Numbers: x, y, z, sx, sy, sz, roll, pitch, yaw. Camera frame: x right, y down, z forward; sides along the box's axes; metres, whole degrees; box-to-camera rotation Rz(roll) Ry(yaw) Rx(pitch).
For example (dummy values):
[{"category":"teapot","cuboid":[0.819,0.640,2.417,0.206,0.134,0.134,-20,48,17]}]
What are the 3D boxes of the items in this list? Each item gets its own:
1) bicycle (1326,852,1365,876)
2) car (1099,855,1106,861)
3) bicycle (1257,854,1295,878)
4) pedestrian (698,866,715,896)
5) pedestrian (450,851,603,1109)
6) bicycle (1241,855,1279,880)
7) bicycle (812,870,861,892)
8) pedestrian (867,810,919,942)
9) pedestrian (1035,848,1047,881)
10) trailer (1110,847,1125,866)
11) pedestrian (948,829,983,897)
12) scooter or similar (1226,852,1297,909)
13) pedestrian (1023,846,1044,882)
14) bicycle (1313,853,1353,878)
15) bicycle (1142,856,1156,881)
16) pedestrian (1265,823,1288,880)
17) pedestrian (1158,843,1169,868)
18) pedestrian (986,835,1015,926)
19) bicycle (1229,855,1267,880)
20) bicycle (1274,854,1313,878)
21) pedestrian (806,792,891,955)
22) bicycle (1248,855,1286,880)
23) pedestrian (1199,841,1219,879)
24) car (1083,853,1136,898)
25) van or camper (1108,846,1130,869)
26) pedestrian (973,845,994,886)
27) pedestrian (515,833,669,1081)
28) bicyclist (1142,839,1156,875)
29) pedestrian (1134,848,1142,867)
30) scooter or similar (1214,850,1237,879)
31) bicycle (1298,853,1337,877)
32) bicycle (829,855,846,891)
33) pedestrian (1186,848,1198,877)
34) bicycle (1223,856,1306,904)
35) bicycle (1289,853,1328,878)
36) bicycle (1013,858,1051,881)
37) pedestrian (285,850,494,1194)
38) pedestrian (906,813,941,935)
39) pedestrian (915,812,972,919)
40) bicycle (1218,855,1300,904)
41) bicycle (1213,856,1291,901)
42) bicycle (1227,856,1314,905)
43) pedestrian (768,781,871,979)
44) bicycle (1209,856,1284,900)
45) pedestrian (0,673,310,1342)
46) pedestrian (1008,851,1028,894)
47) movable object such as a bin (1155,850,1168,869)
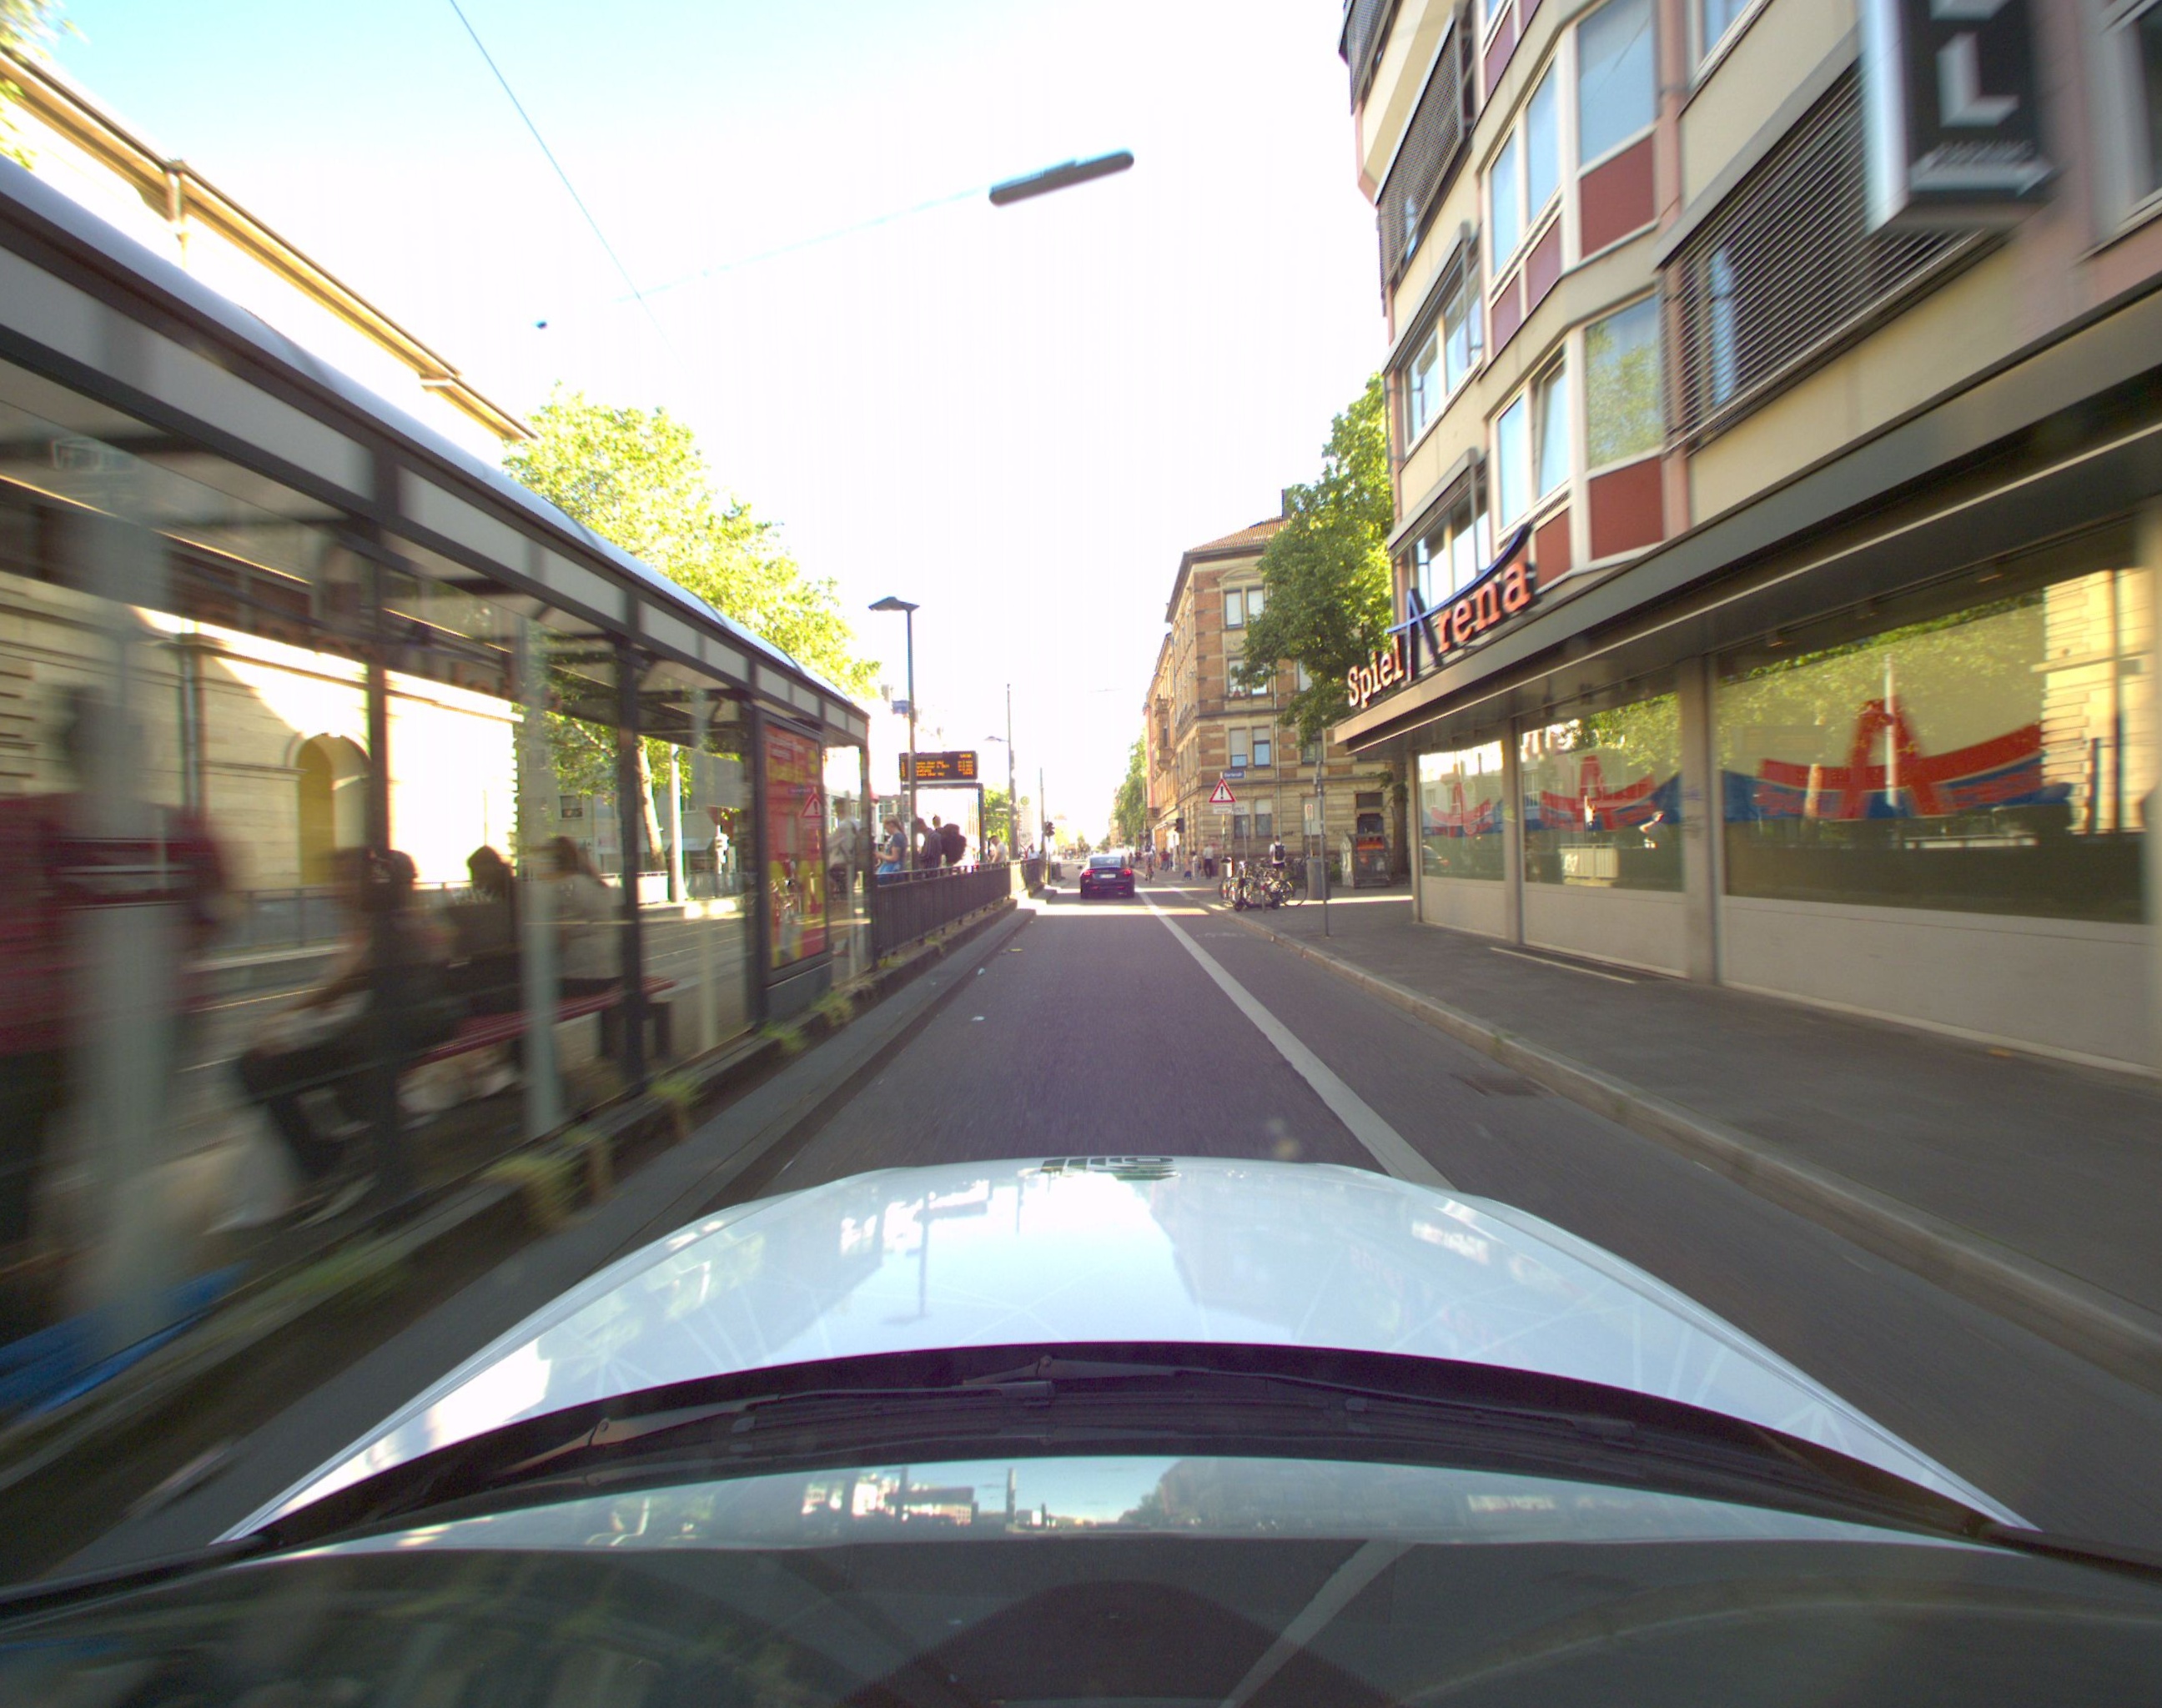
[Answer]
[{"category":"bicycle","cuboid":[12.452,0.480,38.382,0.447,1.115,1.793,-2,0,-40]},{"category":"car","cuboid":[5.189,1.005,197.117,1.587,1.433,3.688,-2,-1,2]},{"category":"bicycle","cuboid":[9.155,0.568,38.269,0.447,1.115,1.793,-2,0,-40]},{"category":"pedestrian","cuboid":[-20.432,1.468,44.439,0.693,1.636,0.669,-2,0,-32]},{"category":"pedestrian","cuboid":[-2.622,0.565,3.884,0.407,1.152,0.460,-1,-1,0]},{"category":"bicycle","cuboid":[8.289,0.642,37.815,0.446,1.115,1.793,-2,0,-39]},{"category":"bicycle","cuboid":[-11.904,1.317,39.687,2.181,0.966,0.640,-2,0,-39]},{"category":"pedestrian","cuboid":[-2.427,0.273,10.534,0.492,1.648,0.590,-2,0,0]},{"category":"pedestrian","cuboid":[-1.926,0.502,39.232,0.517,1.590,0.665,2,0,-8]},{"category":"trailer","cuboid":[4.153,0.242,93.055,1.654,2.117,3.845,0,0,3]},{"category":"pedestrian","cuboid":[-2.987,0.234,21.194,0.760,1.734,0.590,-2,0,1]},{"category":"scooter or similar","cuboid":[4.256,0.625,19.244,1.473,1.229,0.592,-4,0,1]},{"category":"pedestrian","cuboid":[-2.406,0.485,41.367,0.587,1.821,0.948,0,0,34]},{"category":"bicycle","cuboid":[11.851,0.555,38.356,0.447,1.115,1.793,-2,0,-40]},{"category":"bicycle","cuboid":[3.246,0.687,38.735,0.644,1.139,2.098,-1,0,5]},{"category":"pedestrian","cuboid":[6.866,-0.065,28.616,0.711,1.985,0.946,-1,-2,12]},{"category":"pedestrian","cuboid":[5.802,0.133,57.124,0.464,1.728,0.591,-2,1,37]},{"category":"pedestrian","cuboid":[-1.923,0.612,19.493,0.536,2.120,0.807,-2,0,0]},{"category":"bicycle","cuboid":[7.731,0.644,37.728,0.446,1.115,1.793,-2,0,-39]},{"category":"bicycle","cuboid":[9.937,0.567,38.110,0.447,1.115,1.793,-2,0,-40]},{"category":"pedestrian","cuboid":[-2.613,0.210,9.221,0.687,1.752,0.748,-2,0,0]},{"category":"bicycle","cuboid":[8.687,0.641,38.072,0.447,1.115,1.793,-2,0,-40]},{"category":"pedestrian","cuboid":[6.265,0.294,39.798,0.843,1.807,0.877,-2,1,6]},{"category":"car","cuboid":[0.929,0.685,28.115,1.714,1.405,3.710,-1,0,0]},{"category":"van or camper","cuboid":[3.496,0.331,75.647,1.924,2.037,5.475,0,-1,1]},{"category":"pedestrian","cuboid":[-4.069,0.477,34.079,0.693,1.668,1.033,-2,0,2]},{"category":"pedestrian","cuboid":[-2.610,0.524,4.380,0.538,1.252,0.460,-1,-1,0]},{"category":"bicyclist","cuboid":[3.224,0.129,38.660,0.652,1.656,0.928,-1,0,5]},{"category":"pedestrian","cuboid":[5.478,0.328,78.857,0.670,1.814,0.756,-2,-1,0]},{"category":"scooter or similar","cuboid":[6.615,0.474,37.387,0.391,1.289,1.515,-2,0,-14]},{"category":"bicycle","cuboid":[11.132,0.539,38.385,0.447,1.115,1.793,-2,0,-40]},{"category":"bicycle","cuboid":[-11.880,0.944,39.752,0.586,1.716,0.640,-2,0,-36]},{"category":"pedestrian","cuboid":[5.489,0.431,40.259,0.571,1.414,0.582,0,0,10]},{"category":"bicycle","cuboid":[4.615,0.640,20.511,1.940,1.107,0.564,-2,0,-1]},{"category":"bicycle","cuboid":[10.637,0.539,38.163,0.447,1.115,1.793,-2,0,-40]},{"category":"bicycle","cuboid":[-2.498,0.764,41.354,1.920,1.094,0.602,1,0,34]},{"category":"pedestrian","cuboid":[-2.497,0.566,2.976,0.364,1.152,0.460,-1,-1,0]},{"category":"pedestrian","cuboid":[-2.220,0.274,11.510,0.350,1.669,0.529,-2,0,0]},{"category":"pedestrian","cuboid":[-2.444,0.199,14.389,0.775,1.831,0.796,0,-1,-29]},{"category":"bicycle","cuboid":[4.611,0.649,21.165,1.940,1.165,0.628,-2,0,-1]},{"category":"bicycle","cuboid":[4.597,0.652,21.926,1.940,1.107,0.564,-2,0,-1]},{"category":"bicycle","cuboid":[4.615,0.633,19.897,1.940,1.107,0.564,-2,0,-1]},{"category":"pedestrian","cuboid":[-2.459,0.233,7.734,0.687,1.765,0.748,-2,0,0]},{"category":"bicycle","cuboid":[4.580,0.656,22.574,1.940,1.107,0.564,-2,0,-1]},{"category":"pedestrian","cuboid":[-2.463,0.358,2.177,0.545,1.572,0.318,0,-1,-37]},{"category":"pedestrian","cuboid":[-1.981,0.575,25.615,0.475,1.329,0.356,-2,0,30]},{"category":"movable object such as a bin","cuboid":[6.143,0.421,62.114,0.773,1.347,1.299,-2,0,0]}]
